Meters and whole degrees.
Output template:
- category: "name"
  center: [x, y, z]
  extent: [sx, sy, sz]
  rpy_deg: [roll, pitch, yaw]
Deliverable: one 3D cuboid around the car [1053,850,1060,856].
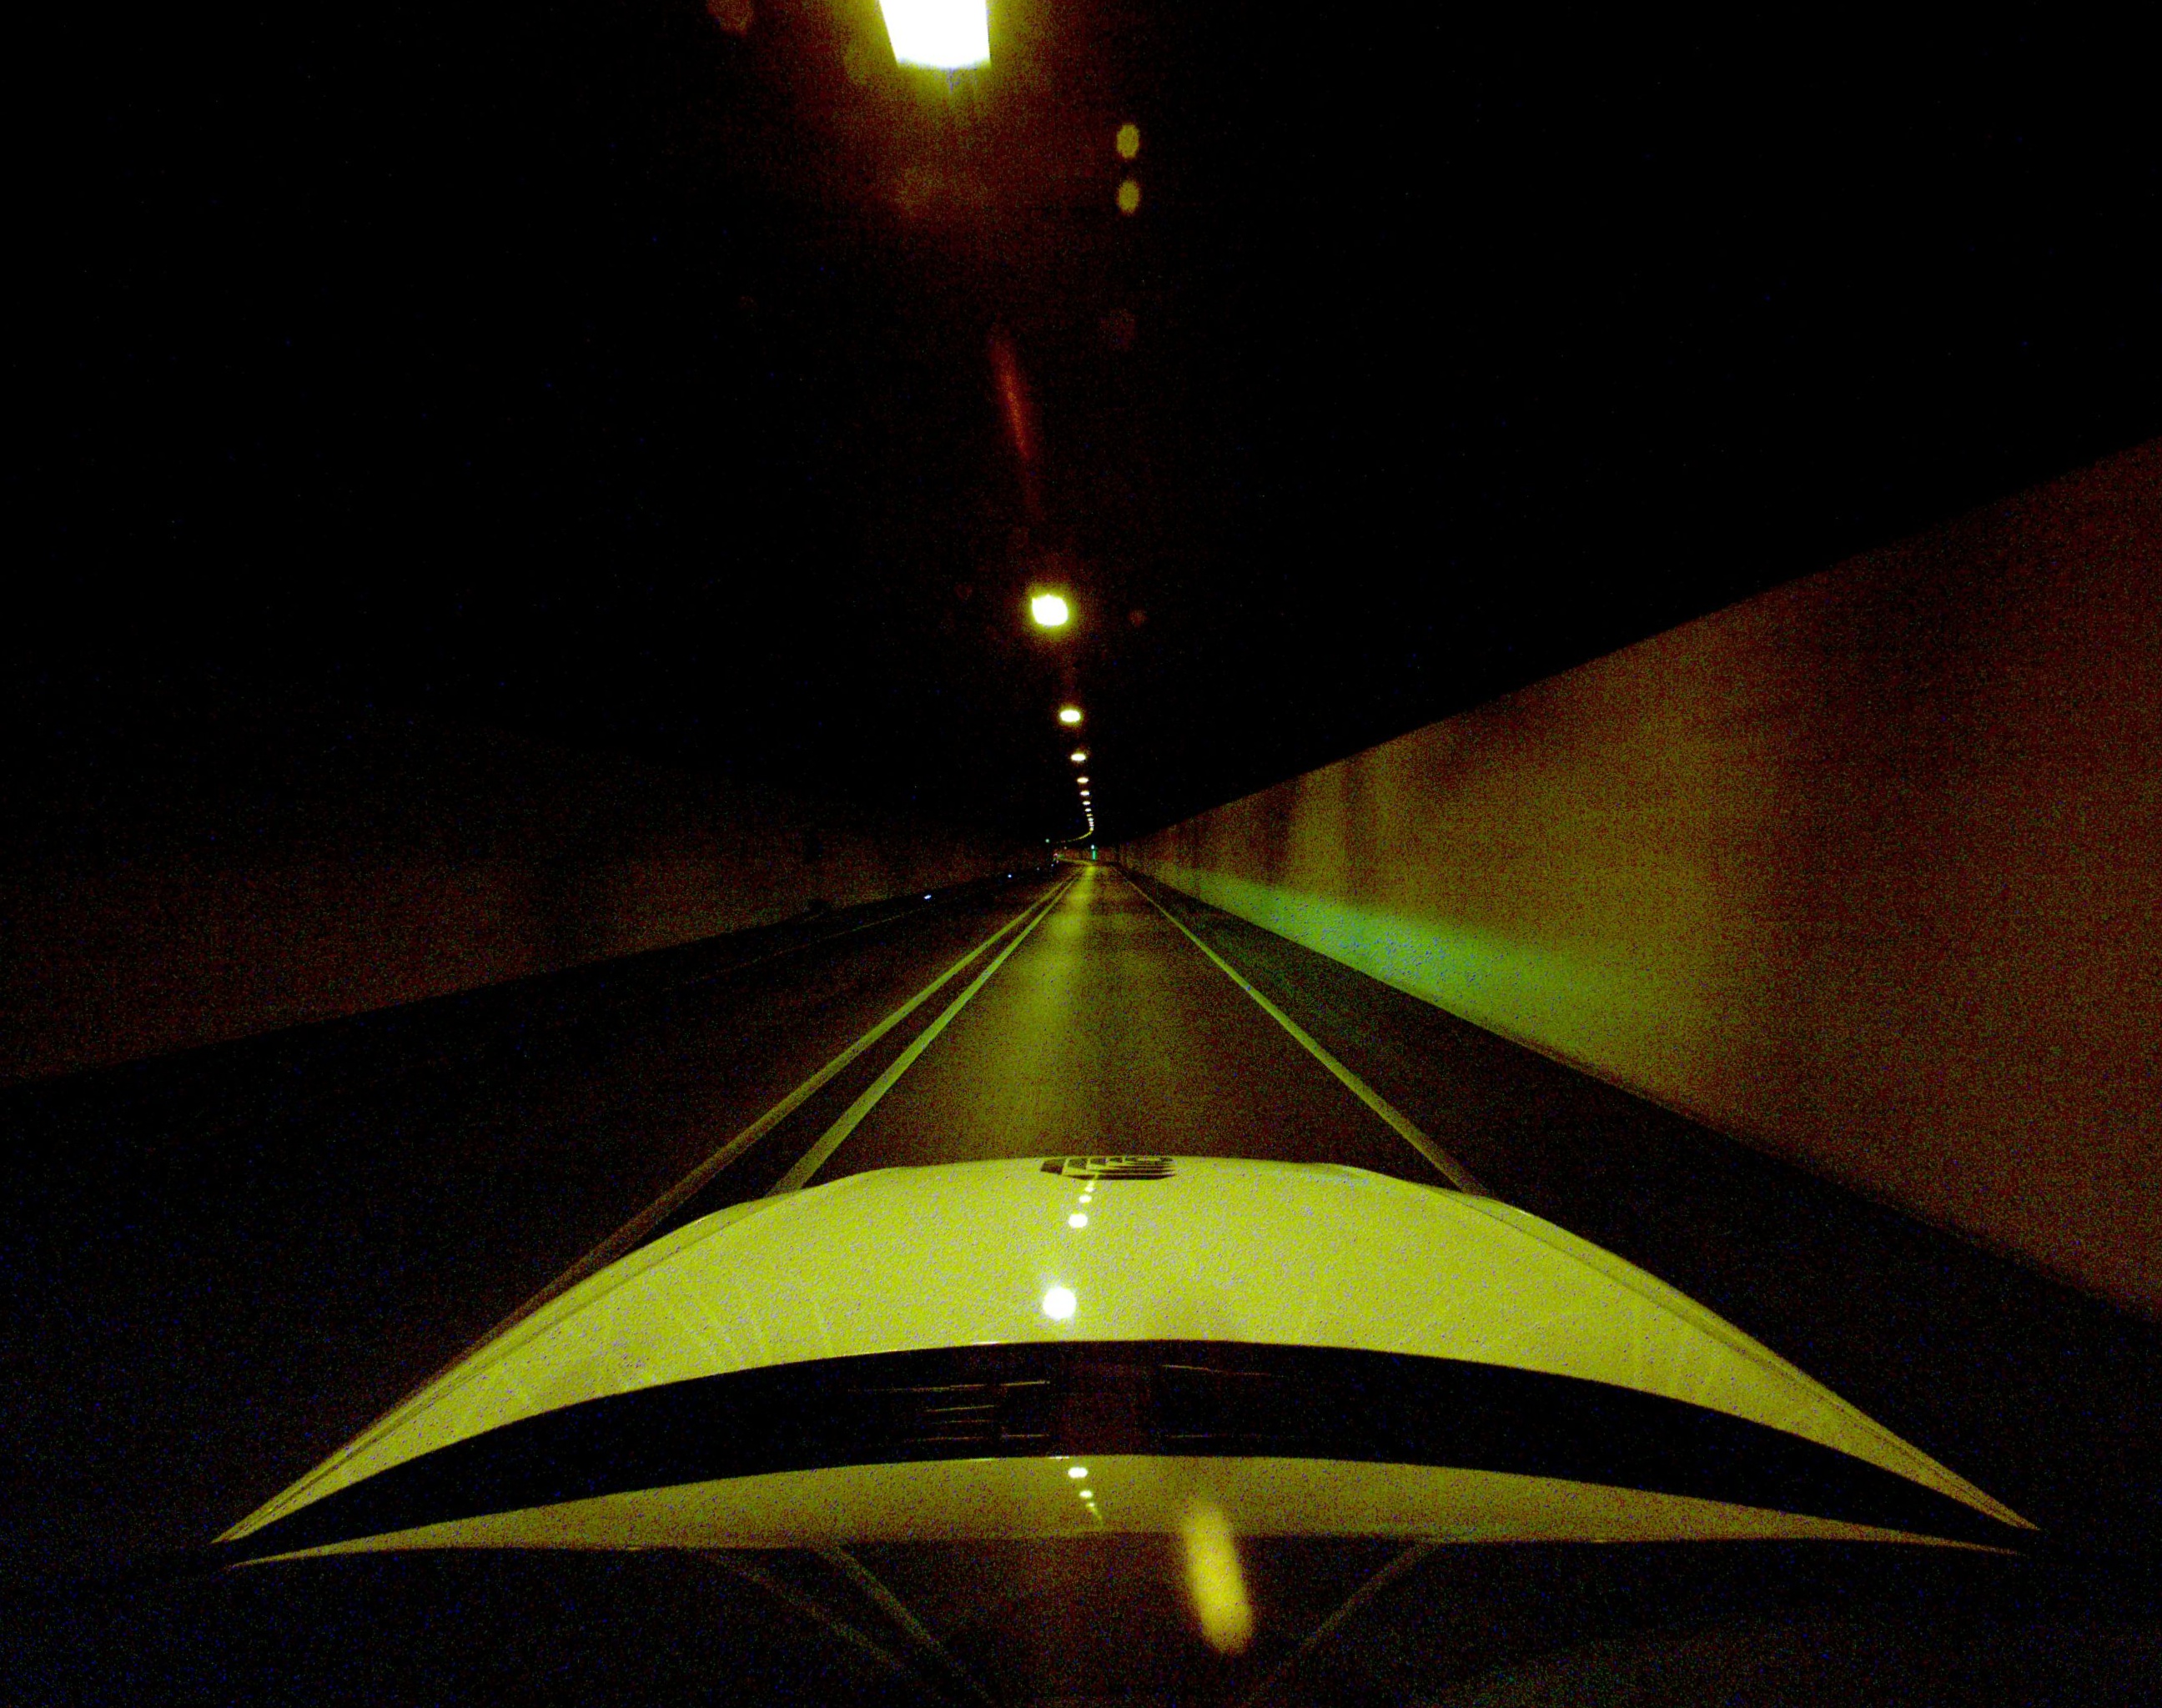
- category: "car"
  center: [-7.674, -0.335, 256.503]
  extent: [1.965, 1.939, 4.602]
  rpy_deg: [1, -1, -6]
